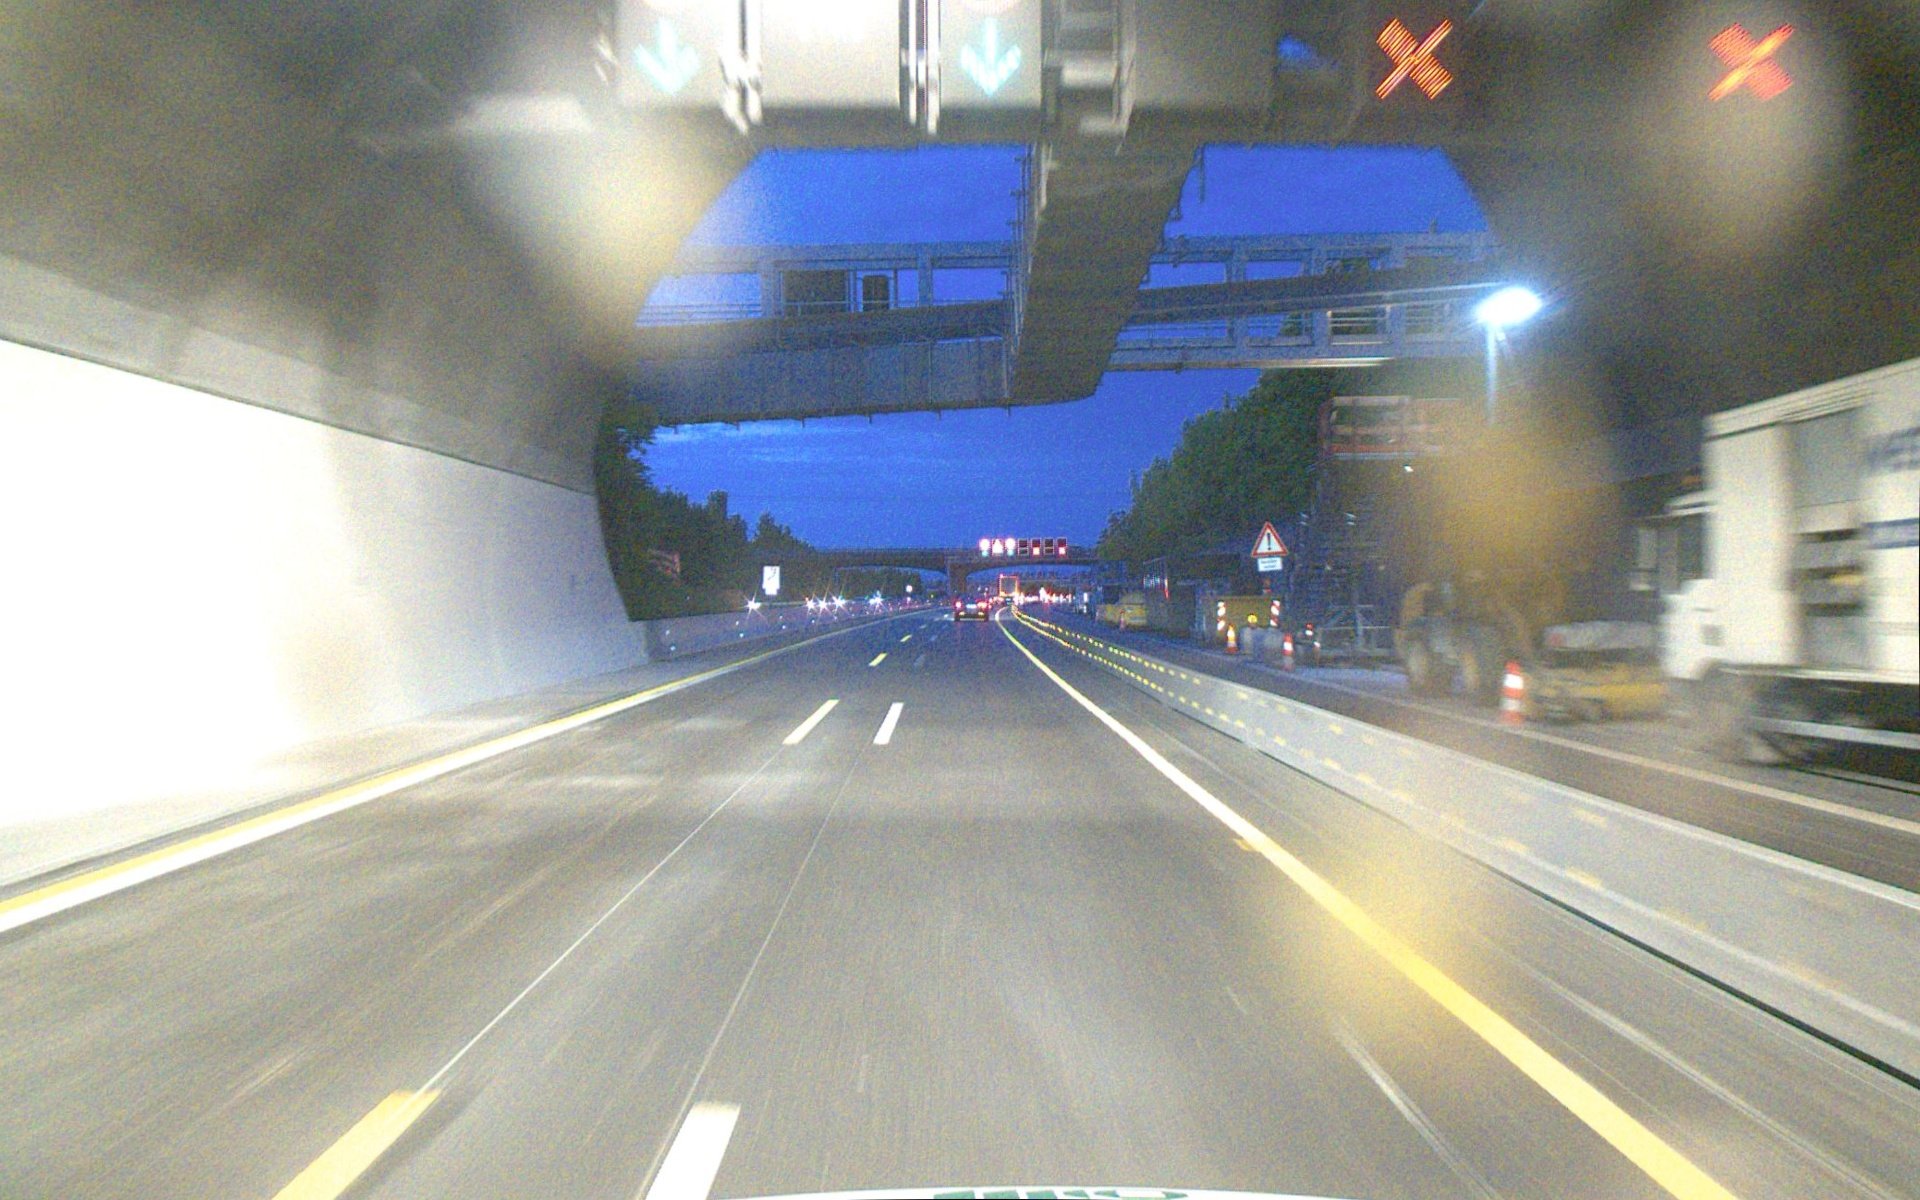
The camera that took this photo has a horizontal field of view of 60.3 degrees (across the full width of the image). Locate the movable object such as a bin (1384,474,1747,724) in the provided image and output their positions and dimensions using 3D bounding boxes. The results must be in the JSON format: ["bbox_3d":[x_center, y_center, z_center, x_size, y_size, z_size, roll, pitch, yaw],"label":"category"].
[{"bbox_3d":[7.821,-0.011,22.431,2.192,2.843,7.231,0,0,-1],"label":"movable object such as a bin"}]

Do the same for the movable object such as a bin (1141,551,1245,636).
[{"bbox_3d":[8.070,-0.227,58.110,2.681,2.802,7.049,0,0,0],"label":"movable object such as a bin"}]

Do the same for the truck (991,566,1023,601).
[{"bbox_3d":[6.804,-2.355,242.829,4.452,5.074,9.599,0,0,0],"label":"truck"}]

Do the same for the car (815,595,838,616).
[{"bbox_3d":[-13.127,0.503,162.501,1.953,2.049,3.999,0,0,-1],"label":"car"}]

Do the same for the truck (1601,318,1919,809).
[{"bbox_3d":[7.910,-0.247,12.429,2.833,3.329,8.399,0,0,-1],"label":"truck"}]

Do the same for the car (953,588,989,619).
[{"bbox_3d":[0.595,0.171,88.004,1.848,1.635,4.001,0,0,1],"label":"car"}]

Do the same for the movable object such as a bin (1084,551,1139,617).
[{"bbox_3d":[8.886,-0.902,97.517,2.681,3.743,6.333,0,0,0],"label":"movable object such as a bin"}]

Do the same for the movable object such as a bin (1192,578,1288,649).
[{"bbox_3d":[7.632,0.349,45.401,1.938,1.847,3.836,0,0,-1],"label":"movable object such as a bin"}]

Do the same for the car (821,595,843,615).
[{"bbox_3d":[-13.129,0.499,169.424,1.953,2.049,3.999,0,0,-1],"label":"car"}]

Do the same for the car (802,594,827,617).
[{"bbox_3d":[-13.400,0.508,152.401,1.953,2.049,3.999,0,0,-1],"label":"car"}]

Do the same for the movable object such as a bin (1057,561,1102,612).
[{"bbox_3d":[8.346,-0.917,116.440,2.681,3.516,6.946,0,0,0],"label":"movable object such as a bin"}]

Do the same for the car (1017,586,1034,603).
[{"bbox_3d":[8.147,-0.704,205.649,1.952,2.049,4.000,0,0,0],"label":"car"}]

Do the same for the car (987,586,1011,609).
[{"bbox_3d":[3.498,-0.239,149.277,1.951,2.049,4.002,0,0,4],"label":"car"}]
